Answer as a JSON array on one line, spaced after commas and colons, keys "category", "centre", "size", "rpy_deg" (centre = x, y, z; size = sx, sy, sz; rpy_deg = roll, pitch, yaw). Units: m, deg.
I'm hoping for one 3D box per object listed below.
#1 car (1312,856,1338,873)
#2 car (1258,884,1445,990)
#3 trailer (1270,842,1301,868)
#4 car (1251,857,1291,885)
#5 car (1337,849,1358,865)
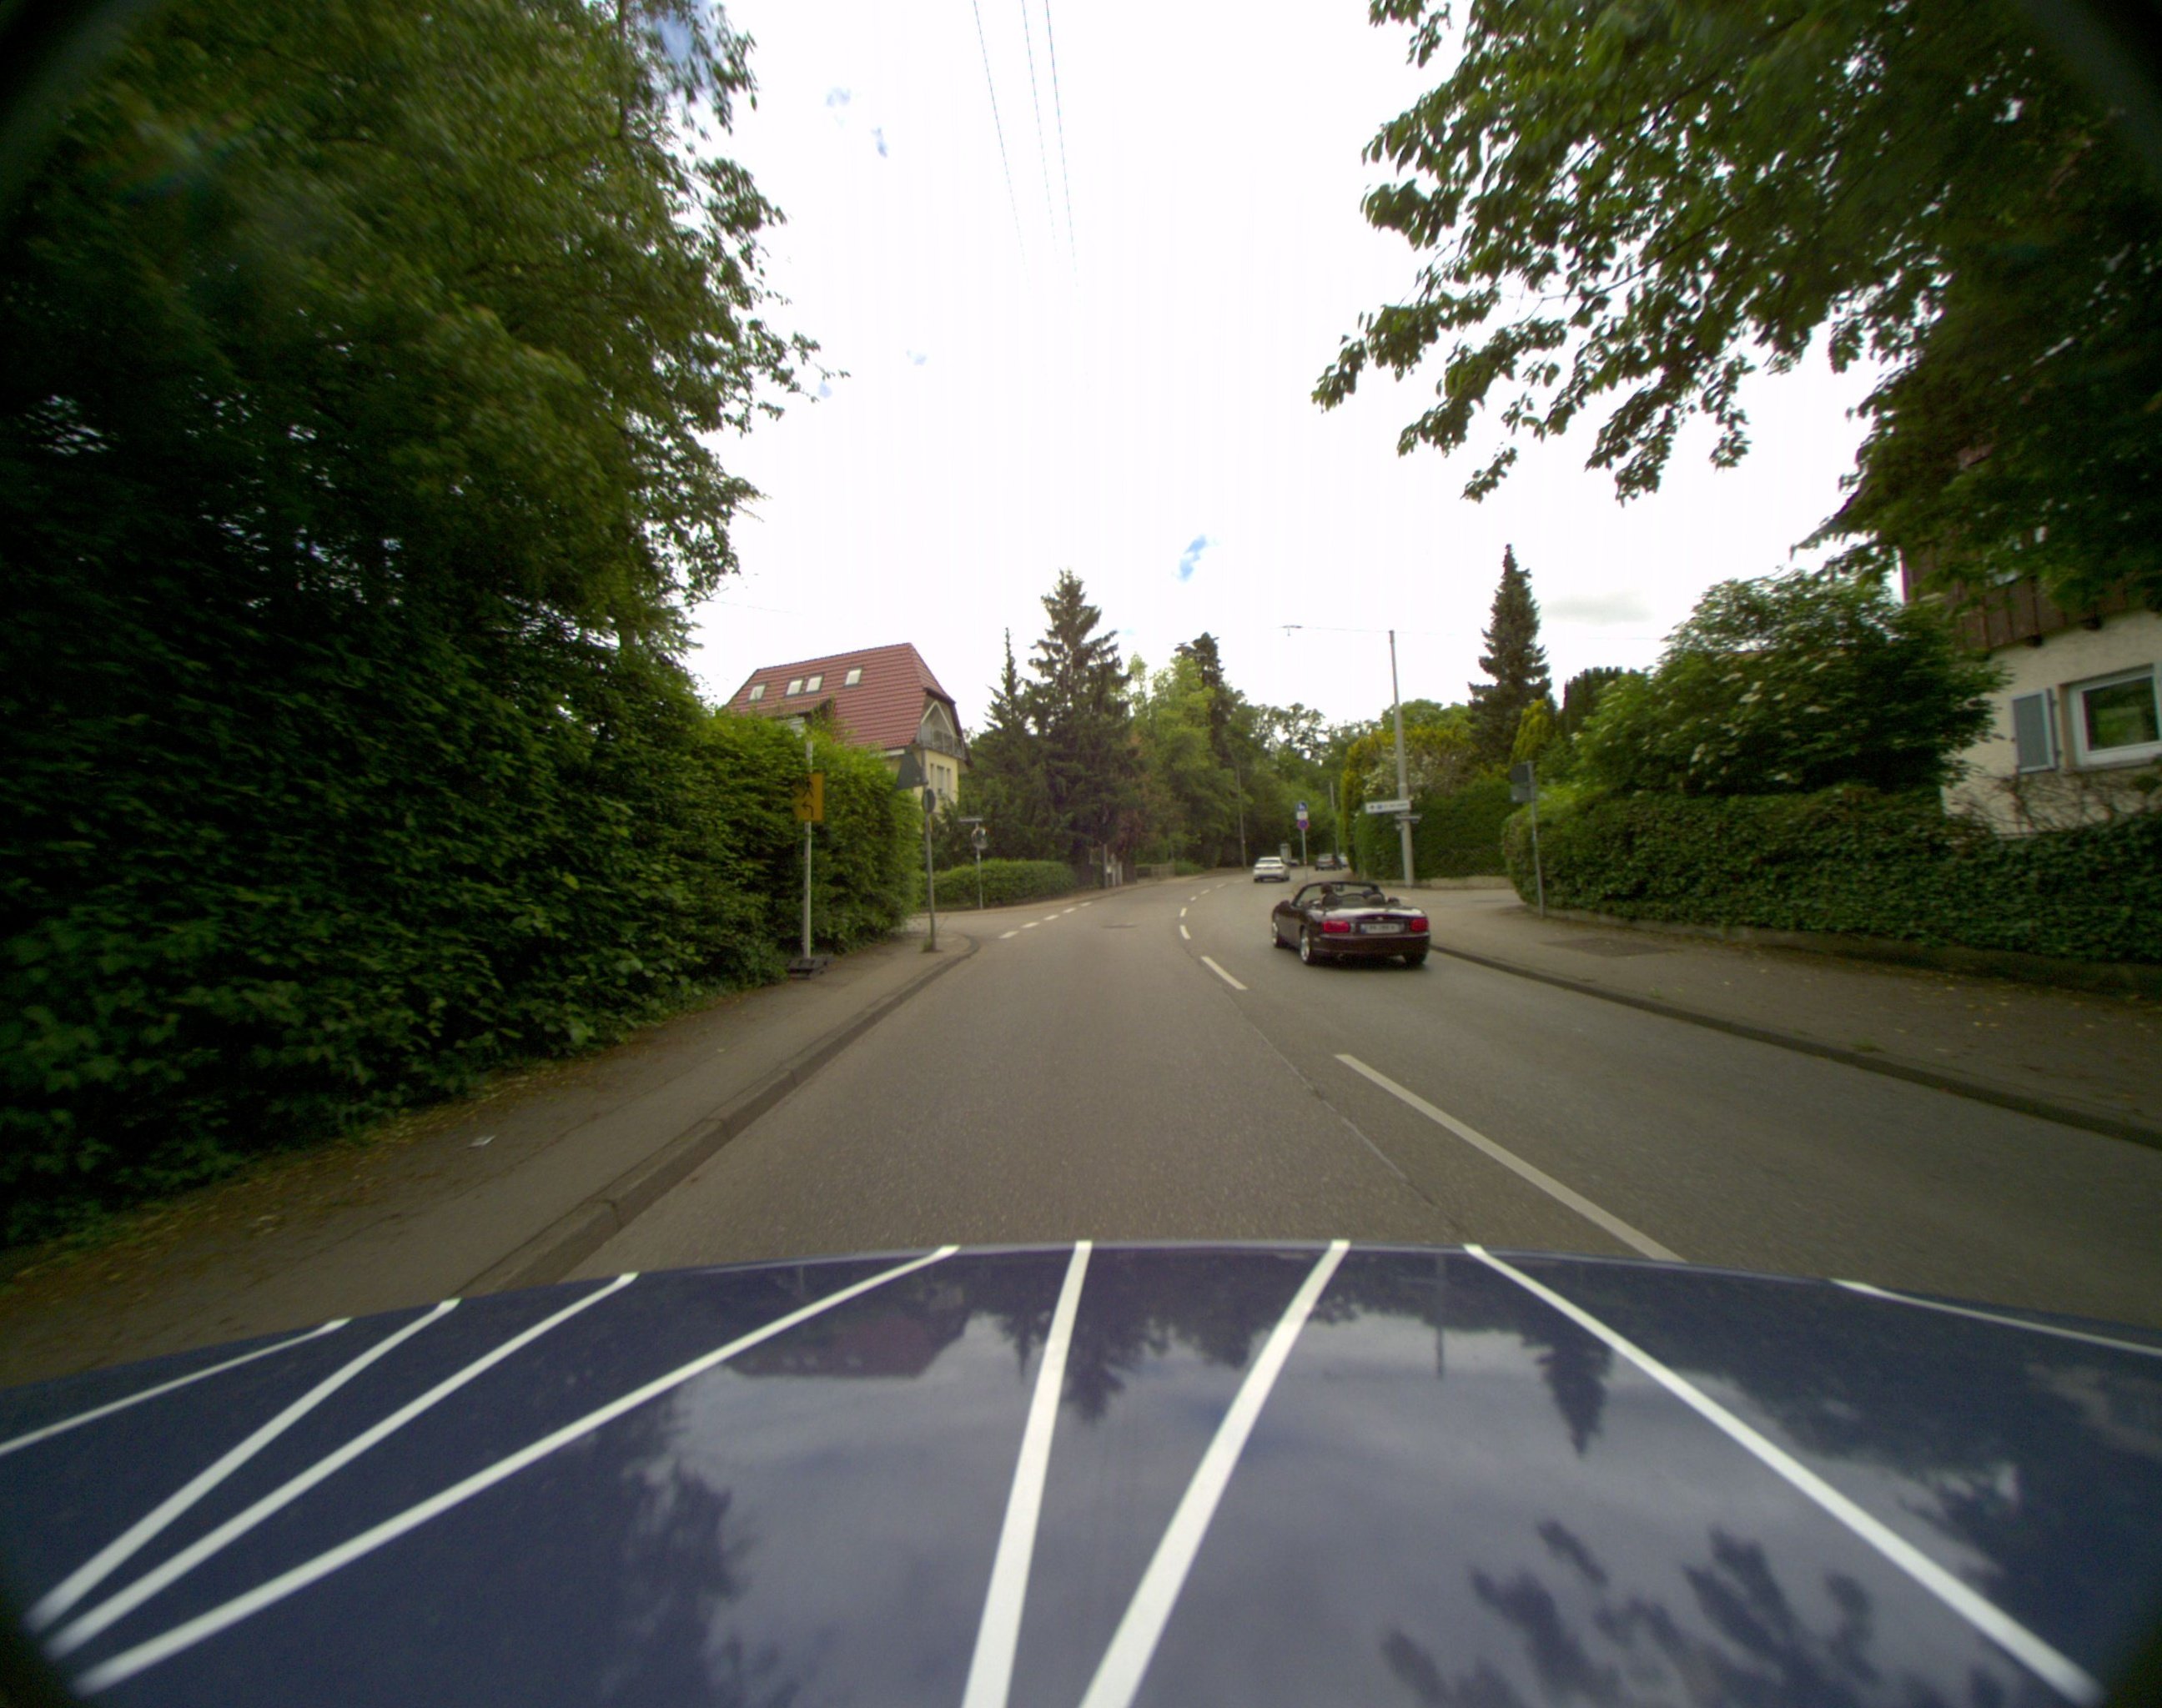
[{"category": "car", "centre": [21.064, 0.873, 65.609], "size": [1.915, 1.390, 3.913], "rpy_deg": [-2, 0, 15]}, {"category": "car", "centre": [3.937, 1.154, 11.721], "size": [1.695, 1.170, 3.788], "rpy_deg": [-2, 0, 3]}, {"category": "trailer", "centre": [24.485, 0.099, 91.022], "size": [3.119, 2.882, 1.596], "rpy_deg": [-3, 0, 31]}, {"category": "car", "centre": [11.209, 0.958, 44.655], "size": [1.810, 1.434, 4.204], "rpy_deg": [-2, 1, 20]}, {"category": "car", "centre": [26.579, 0.278, 75.889], "size": [1.904, 1.446, 3.801], "rpy_deg": [-2, 1, 19]}]
